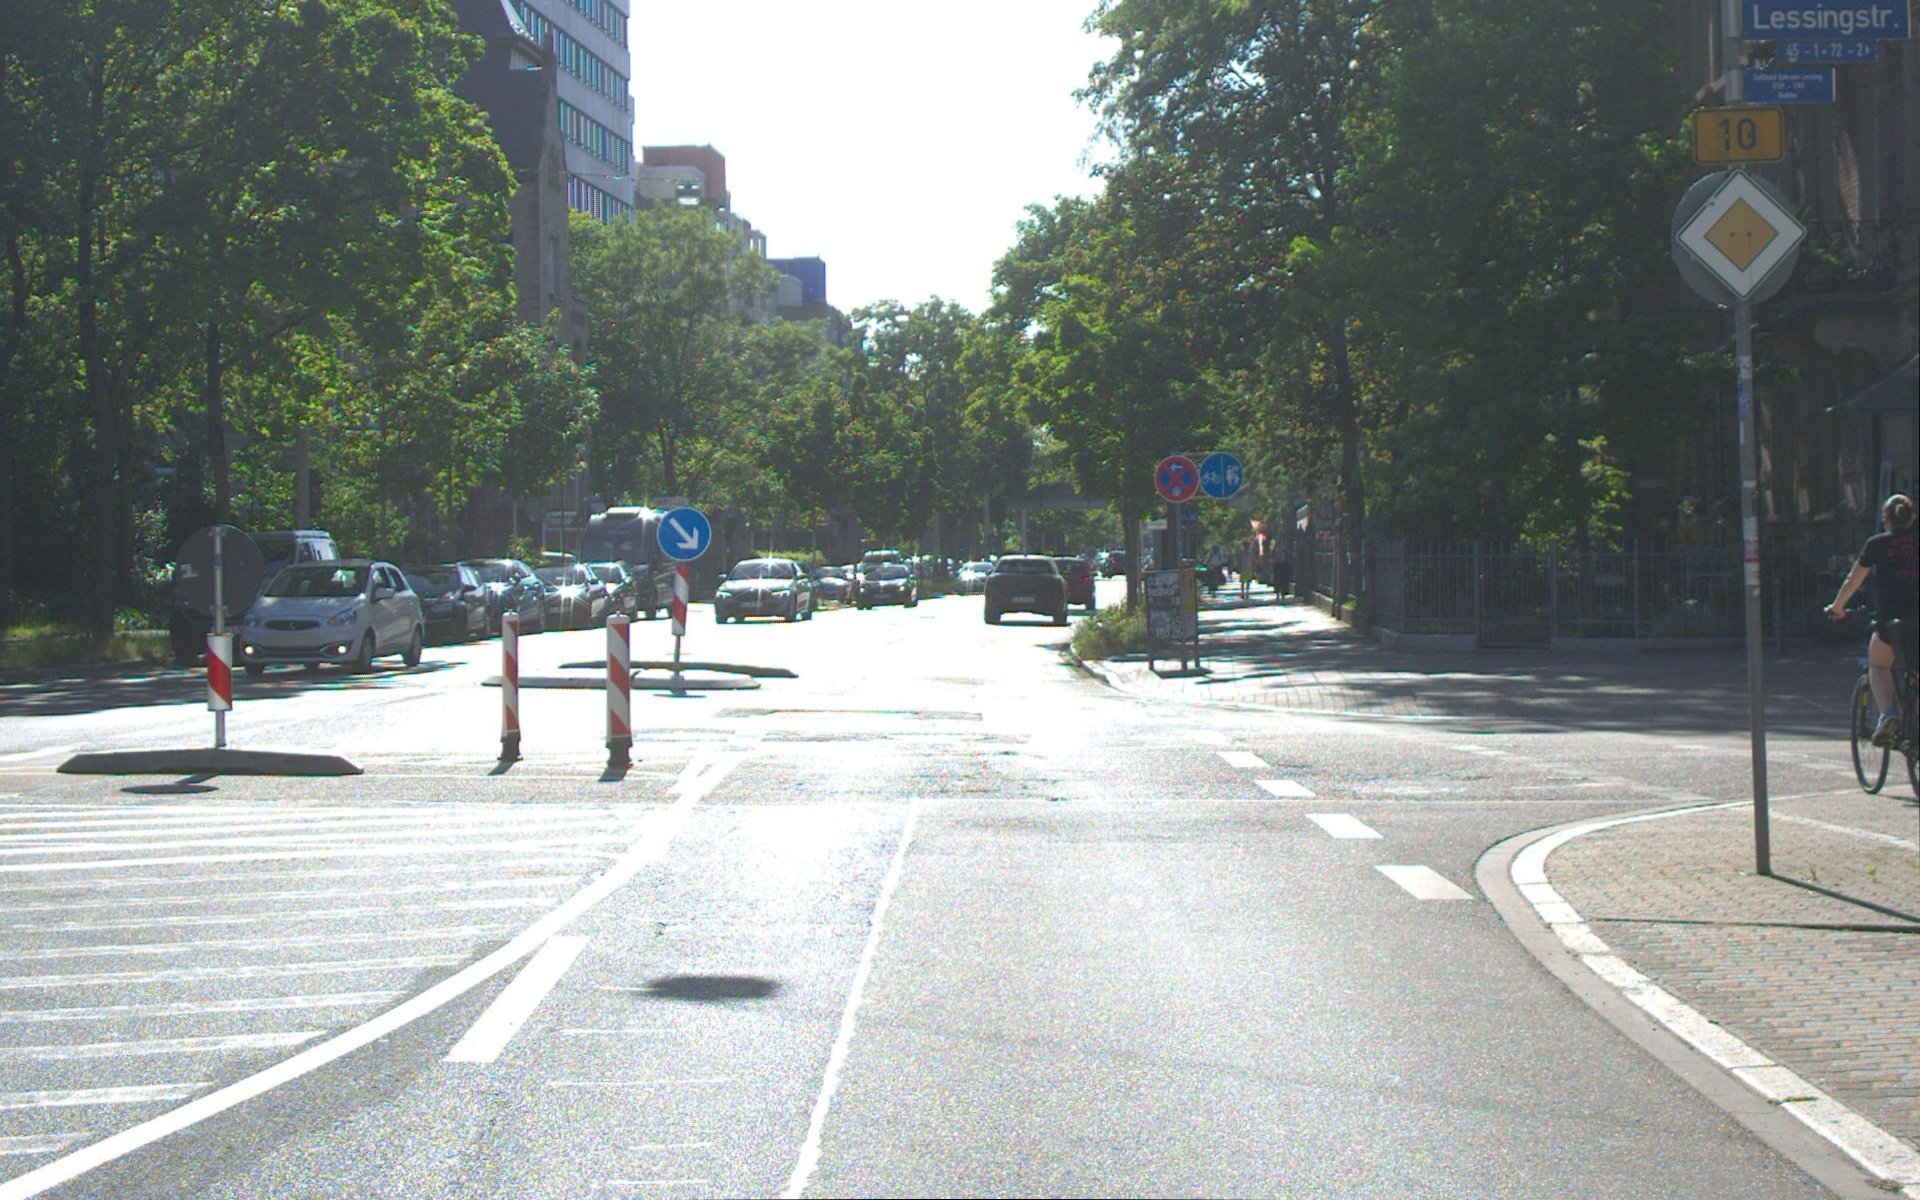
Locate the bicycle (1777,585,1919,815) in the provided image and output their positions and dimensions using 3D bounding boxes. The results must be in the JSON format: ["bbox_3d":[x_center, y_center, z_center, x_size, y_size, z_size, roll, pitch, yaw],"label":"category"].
[{"bbox_3d":[5.339,0.545,19.860,0.741,1.215,1.960,-2,1,1],"label":"bicycle"}]

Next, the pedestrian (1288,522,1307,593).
[{"bbox_3d":[9.765,-1.225,99.488,0.476,2.007,0.492,1,-2,0],"label":"pedestrian"}]

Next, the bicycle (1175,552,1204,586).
[{"bbox_3d":[6.652,-0.888,99.810,0.675,0.935,2.281,-1,-1,0],"label":"bicycle"}]

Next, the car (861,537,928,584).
[{"bbox_3d":[-2.125,-1.305,112.516,1.639,1.514,4.030,0,1,6],"label":"car"}]

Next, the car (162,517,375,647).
[{"bbox_3d":[-10.679,-0.309,53.459,2.198,1.923,4.862,0,1,1],"label":"car"}]

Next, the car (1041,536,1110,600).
[{"bbox_3d":[3.248,-0.916,96.374,1.819,1.734,4.000,0,1,3],"label":"car"}]

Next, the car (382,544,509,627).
[{"bbox_3d":[-9.646,-0.248,64.615,1.524,1.428,3.336,0,-2,6],"label":"car"}]

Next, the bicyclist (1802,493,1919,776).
[{"bbox_3d":[5.358,0.179,19.775,0.741,1.574,1.100,1,2,1],"label":"bicyclist"}]

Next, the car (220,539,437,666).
[{"bbox_3d":[-8.351,-0.003,45.787,1.759,1.514,3.859,-1,2,7],"label":"car"}]

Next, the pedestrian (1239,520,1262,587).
[{"bbox_3d":[8.711,-1.407,103.088,0.614,2.007,0.681,0,1,0],"label":"pedestrian"}]

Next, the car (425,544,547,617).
[{"bbox_3d":[-9.566,-0.412,69.609,1.524,1.427,3.553,0,1,8],"label":"car"}]

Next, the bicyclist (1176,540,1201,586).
[{"bbox_3d":[6.645,-1.075,99.949,0.680,1.323,0.636,1,-2,0],"label":"bicyclist"}]

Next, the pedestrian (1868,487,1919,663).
[{"bbox_3d":[9.898,-0.256,35.938,0.656,1.810,0.751,0,-2,4],"label":"pedestrian"}]

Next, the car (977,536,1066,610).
[{"bbox_3d":[1.363,-0.637,77.961,1.894,1.513,4.000,2,2,0],"label":"car"}]

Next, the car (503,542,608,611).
[{"bbox_3d":[-8.727,-0.528,74.448,1.524,1.427,3.336,0,1,6],"label":"car"}]

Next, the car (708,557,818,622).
[{"bbox_3d":[-4.499,-0.242,79.085,1.784,1.455,4.414,0,0,6],"label":"car"}]

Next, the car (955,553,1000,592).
[{"bbox_3d":[0.751,-1.171,149.659,1.935,1.514,4.030,1,-2,0],"label":"car"}]
